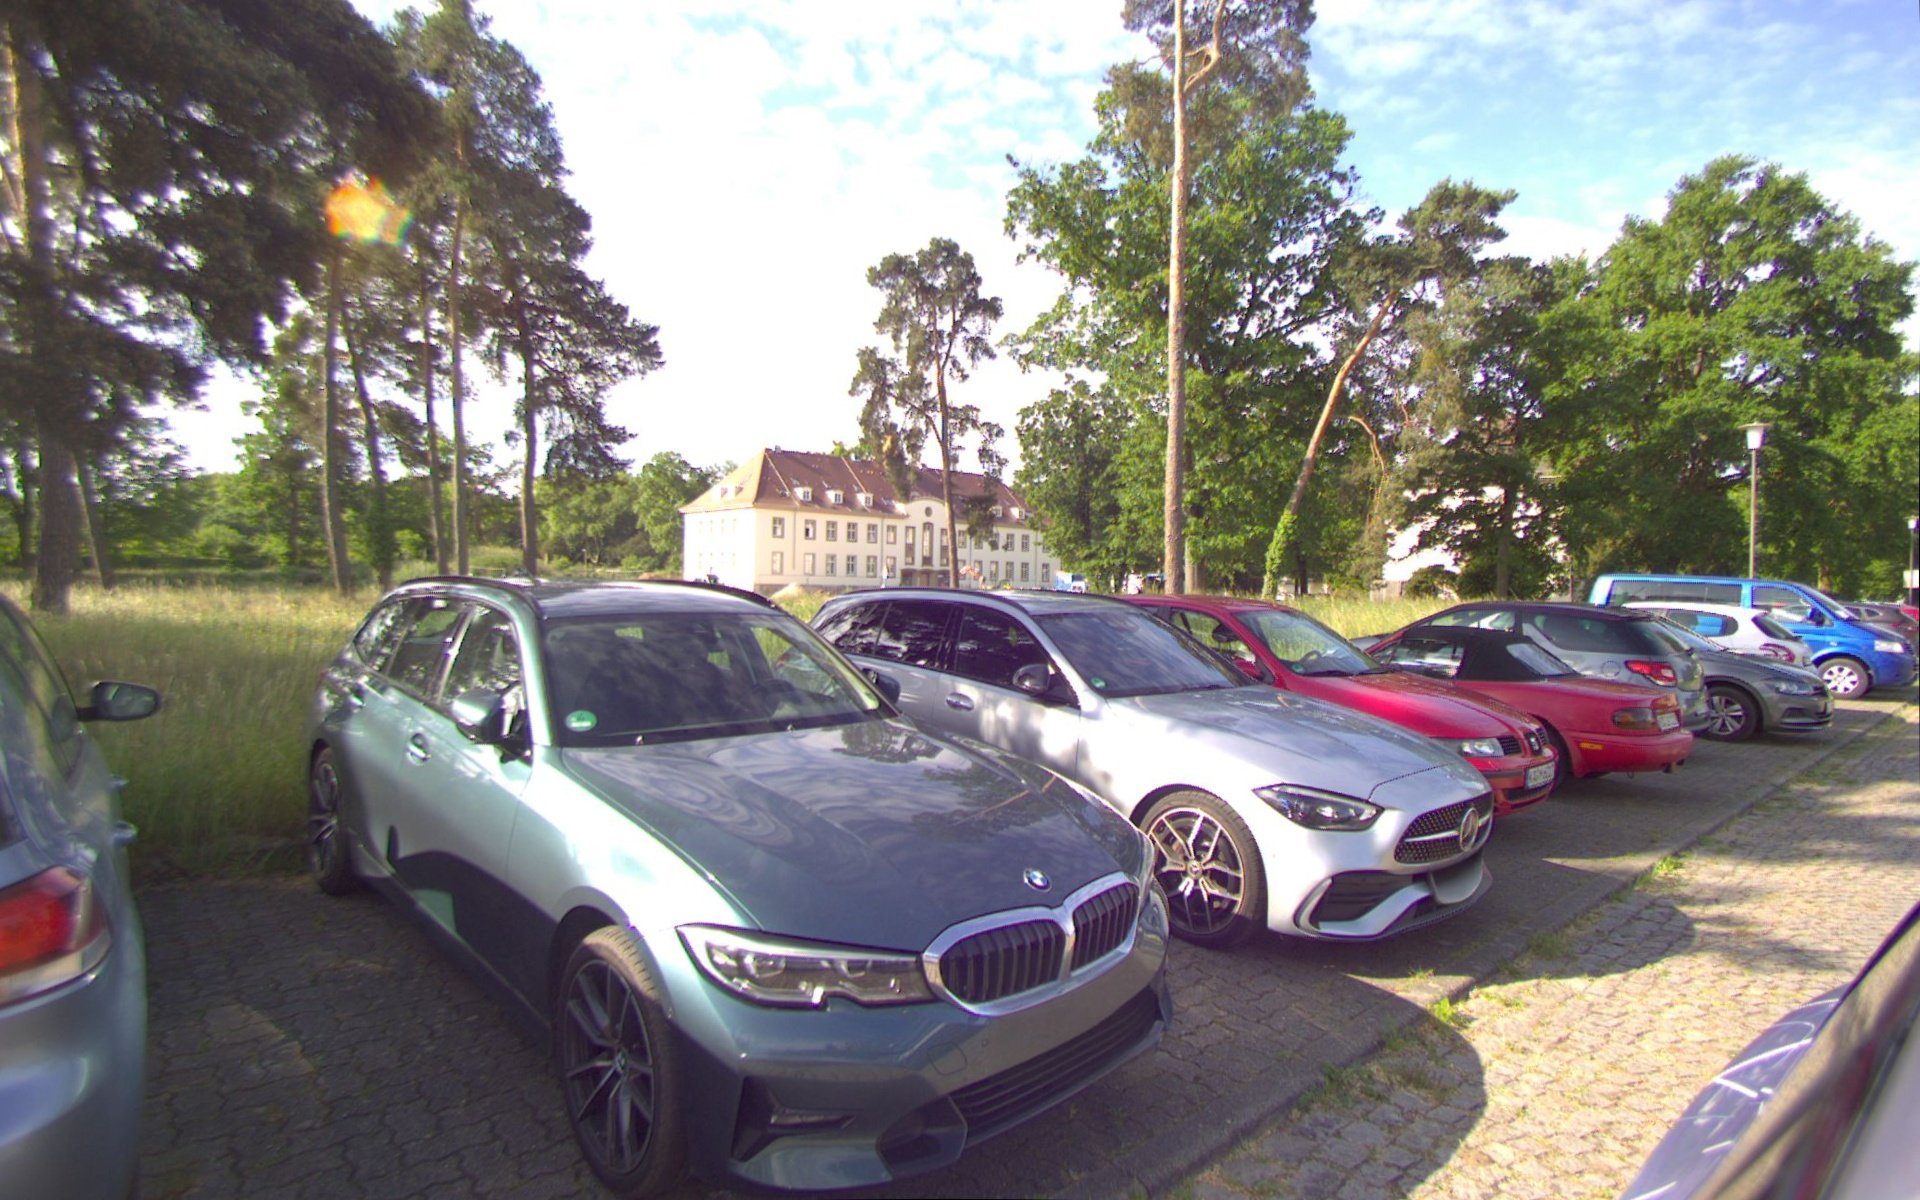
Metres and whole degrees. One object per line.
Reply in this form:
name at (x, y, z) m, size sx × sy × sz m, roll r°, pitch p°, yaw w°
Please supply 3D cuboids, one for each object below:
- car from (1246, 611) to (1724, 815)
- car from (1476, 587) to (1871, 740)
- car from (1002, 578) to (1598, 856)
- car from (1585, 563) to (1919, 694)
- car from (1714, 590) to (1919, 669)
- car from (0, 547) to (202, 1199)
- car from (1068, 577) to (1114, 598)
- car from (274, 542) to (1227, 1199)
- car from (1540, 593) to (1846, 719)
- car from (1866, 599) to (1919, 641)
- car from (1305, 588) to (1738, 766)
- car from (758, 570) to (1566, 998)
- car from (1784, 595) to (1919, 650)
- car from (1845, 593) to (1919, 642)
car at (4.301, 0.795, 8.651) m, size 1.395 × 1.271 × 3.353 m, roll 0°, pitch 1°, yaw -42°
car at (8.454, 0.632, 12.307) m, size 1.478 × 1.509 × 3.630 m, roll 0°, pitch 1°, yaw -31°
car at (2.271, 0.613, 7.578) m, size 1.632 × 1.410 × 3.915 m, roll 0°, pitch 3°, yaw -42°
car at (14.172, 0.383, 18.079) m, size 1.964 × 2.039 × 4.725 m, roll 0°, pitch 1°, yaw -40°
car at (20.616, 0.628, 24.046) m, size 1.725 × 1.660 × 3.997 m, roll 0°, pitch 1°, yaw -38°
car at (-3.240, 0.587, 2.528) m, size 1.839 × 1.478 × 4.023 m, roll 0°, pitch 2°, yaw -41°
car at (13.407, -1.299, 103.478) m, size 4.689 × 2.039 × 1.997 m, roll 0°, pitch 1°, yaw -41°
car at (-1.354, 0.562, 4.271) m, size 1.796 × 1.535 × 4.499 m, roll 0°, pitch 2°, yaw -44°
car at (10.323, 0.698, 14.429) m, size 1.423 × 1.509 × 3.265 m, roll 0°, pitch 1°, yaw -39°
car at (39.266, 0.792, 40.633) m, size 1.724 × 1.635 × 3.997 m, roll -1°, pitch -1°, yaw -37°
car at (5.845, 0.667, 10.878) m, size 1.522 × 1.509 × 3.776 m, roll 0°, pitch 1°, yaw -42°
car at (0.757, 0.621, 5.910) m, size 1.795 × 1.419 × 4.419 m, roll 0°, pitch 3°, yaw -42°
car at (28.026, 0.668, 31.040) m, size 1.725 × 1.537 × 3.997 m, roll 0°, pitch 1°, yaw -38°
car at (35.643, 0.637, 37.535) m, size 1.725 × 1.763 × 3.996 m, roll 0°, pitch -1°, yaw -38°
